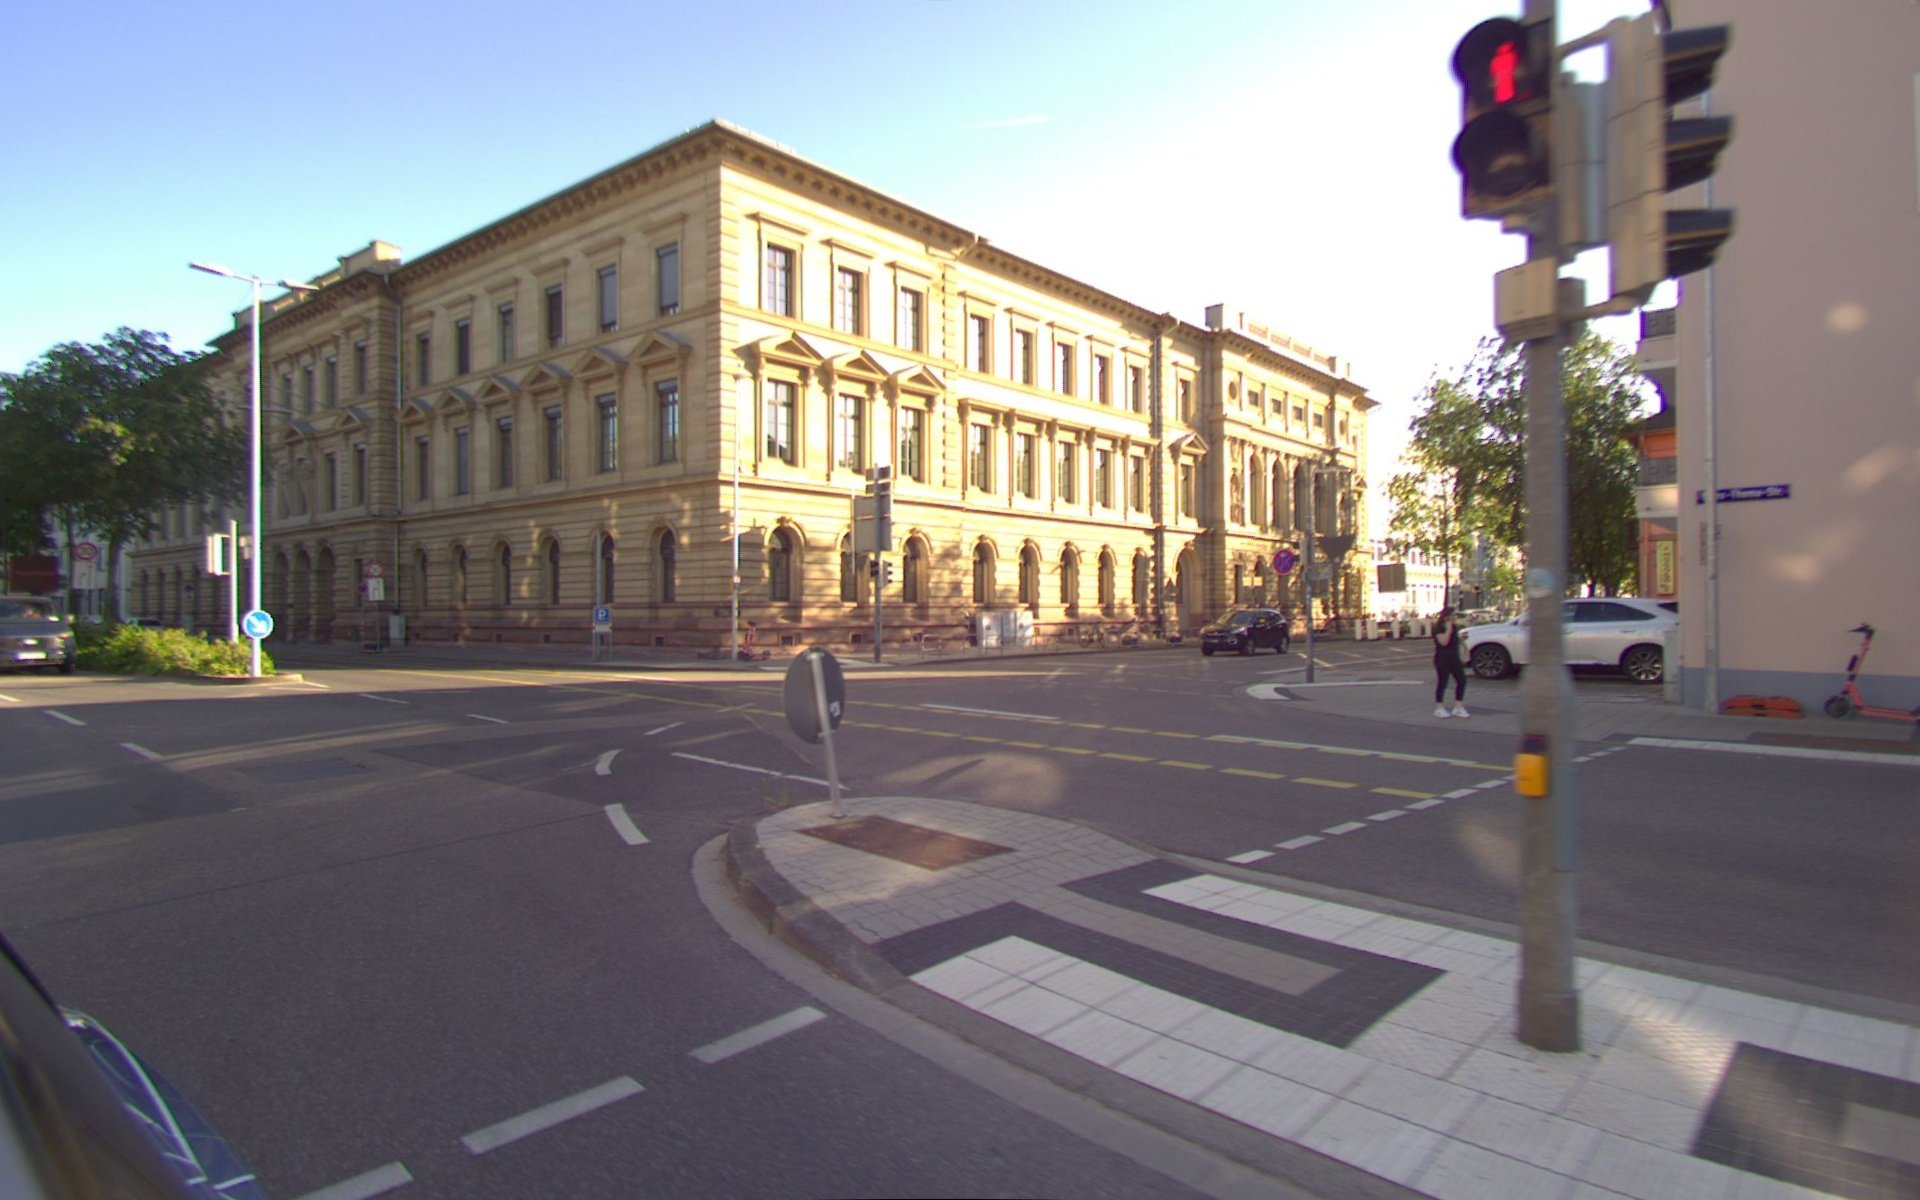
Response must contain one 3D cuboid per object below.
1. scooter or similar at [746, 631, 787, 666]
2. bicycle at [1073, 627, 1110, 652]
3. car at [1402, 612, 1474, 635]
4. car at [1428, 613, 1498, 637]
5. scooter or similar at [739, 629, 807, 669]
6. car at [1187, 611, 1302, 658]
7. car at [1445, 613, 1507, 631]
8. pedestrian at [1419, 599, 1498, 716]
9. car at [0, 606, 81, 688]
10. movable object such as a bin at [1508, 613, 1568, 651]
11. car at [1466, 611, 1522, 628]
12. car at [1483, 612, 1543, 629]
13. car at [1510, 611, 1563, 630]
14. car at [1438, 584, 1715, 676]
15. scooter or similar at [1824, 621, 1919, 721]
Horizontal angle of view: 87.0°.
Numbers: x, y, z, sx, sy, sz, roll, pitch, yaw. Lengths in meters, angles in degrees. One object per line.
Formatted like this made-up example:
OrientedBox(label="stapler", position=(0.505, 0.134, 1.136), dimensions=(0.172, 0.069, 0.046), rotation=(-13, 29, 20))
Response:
OrientedBox(label="scooter or similar", position=(-6.111, 1.536, 32.066), dimensions=(0.393, 1.060, 1.313), rotation=(-2, -2, 42))
OrientedBox(label="bicycle", position=(5.441, 1.627, 41.868), dimensions=(0.575, 0.974, 1.804), rotation=(-1, -1, 44))
OrientedBox(label="car", position=(33.382, 1.641, 70.755), dimensions=(4.256, 1.550, 1.804), rotation=(-1, -4, 41))
OrientedBox(label="car", position=(36.112, 1.790, 72.735), dimensions=(4.192, 1.572, 1.973), rotation=(-1, -4, 41))
OrientedBox(label="scooter or similar", position=(-5.756, 1.494, 31.209), dimensions=(1.998, 1.197, 0.457), rotation=(0, -1, -23))
OrientedBox(label="car", position=(10.320, 1.213, 36.519), dimensions=(2.001, 1.584, 4.620), rotation=(-2, -2, 45))
OrientedBox(label="car", position=(38.686, 1.669, 75.907), dimensions=(3.906, 1.295, 1.626), rotation=(-1, -4, 42))
OrientedBox(label="pedestrian", position=(7.166, 0.805, 14.547), dimensions=(0.624, 1.595, 0.819), rotation=(-3, 1, -44))
OrientedBox(label="car", position=(-24.326, 1.121, 25.710), dimensions=(5.026, 1.930, 2.048), rotation=(0, -1, 38))
OrientedBox(label="movable object such as a bin", position=(22.881, 1.257, 40.058), dimensions=(1.888, 1.466, 1.098), rotation=(-1, -1, 40))
OrientedBox(label="car", position=(42.493, 1.539, 80.556), dimensions=(3.744, 1.277, 1.556), rotation=(-1, -4, 42))
OrientedBox(label="car", position=(44.612, 1.670, 81.693), dimensions=(3.999, 1.320, 1.589), rotation=(-1, -1, 42))
OrientedBox(label="car", position=(52.020, 1.841, 91.353), dimensions=(3.996, 1.627, 1.714), rotation=(-1, -4, 39))
OrientedBox(label="car", position=(12.625, 0.608, 20.900), dimensions=(4.612, 1.699, 1.973), rotation=(-1, -2, 41))
OrientedBox(label="scooter or similar", position=(11.661, 0.863, 12.471), dimensions=(0.527, 1.194, 1.475), rotation=(-1, 0, -42))
